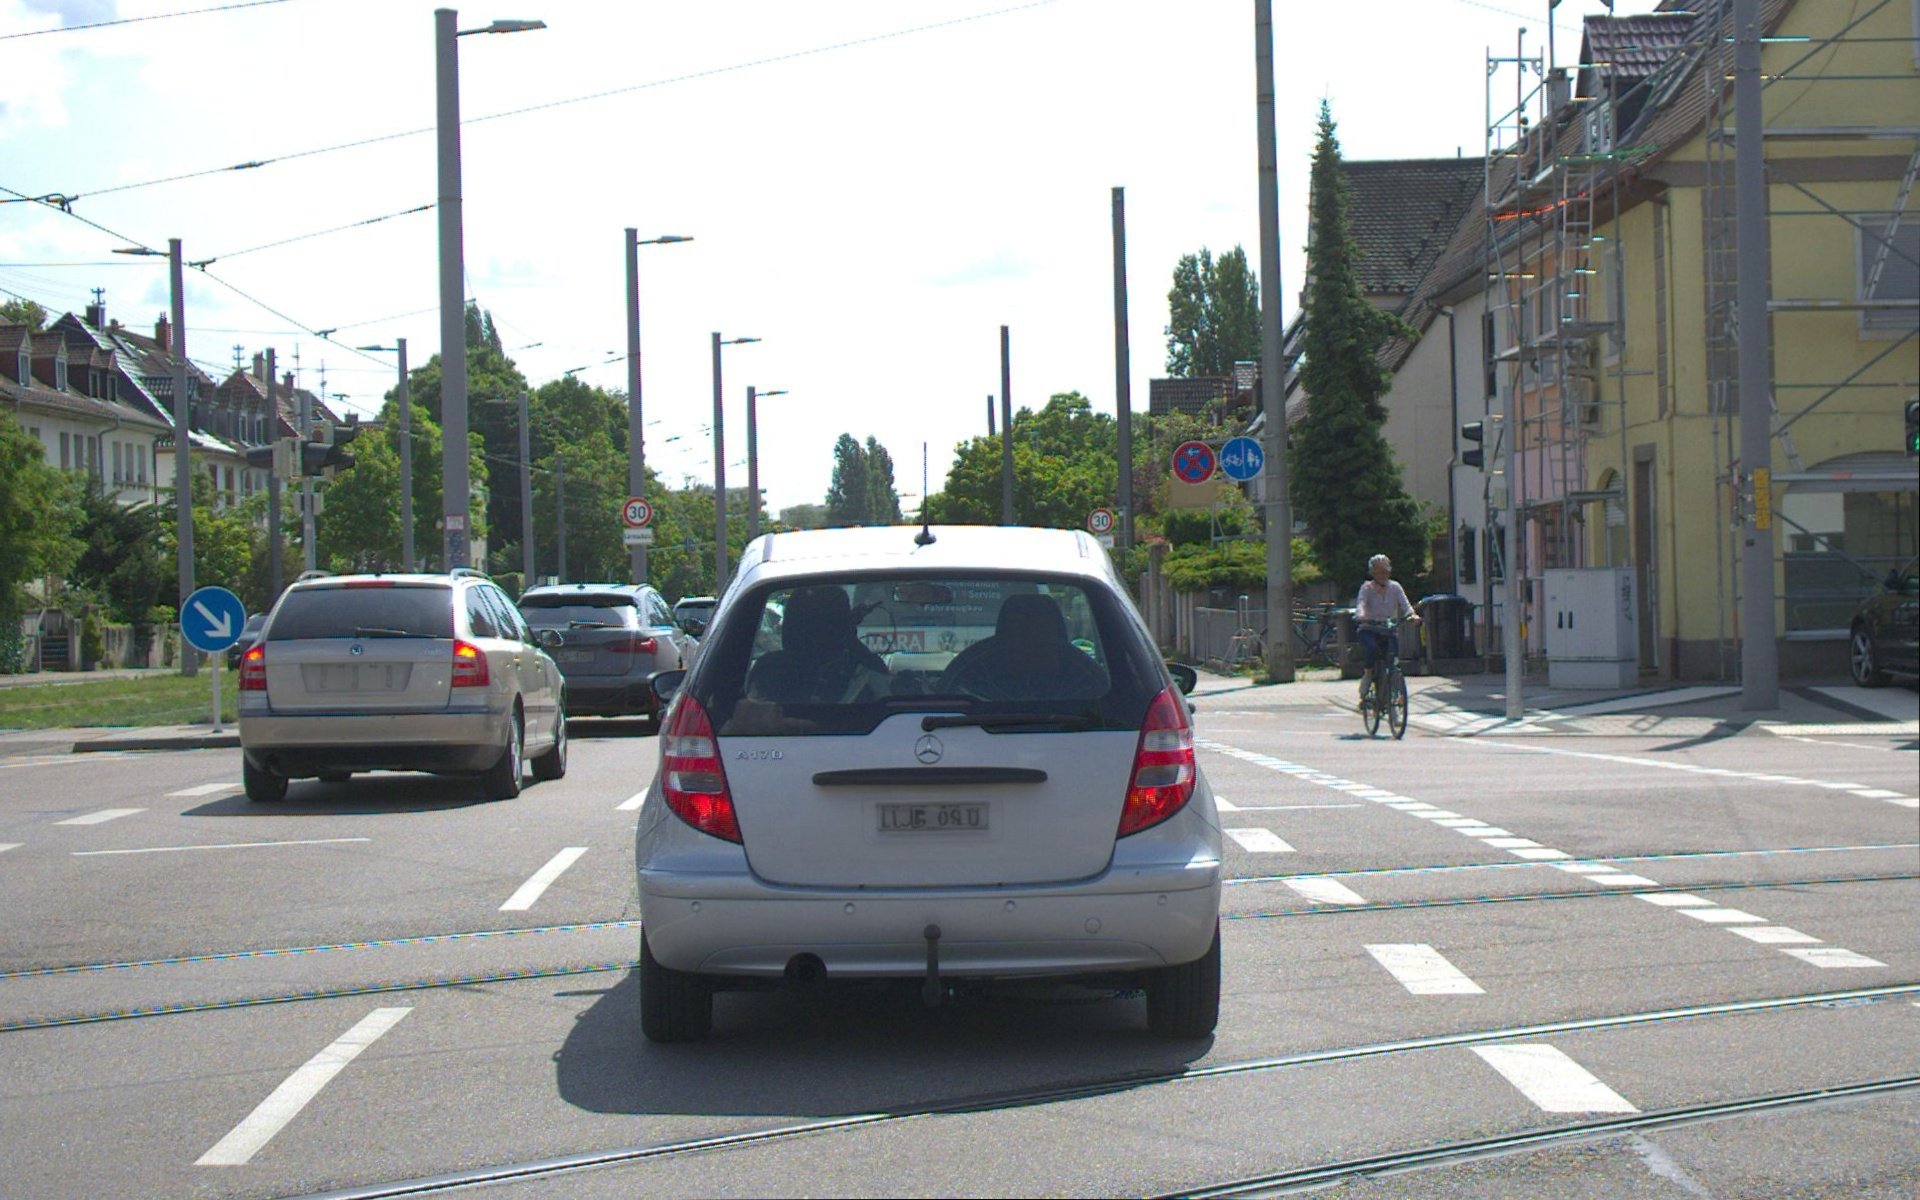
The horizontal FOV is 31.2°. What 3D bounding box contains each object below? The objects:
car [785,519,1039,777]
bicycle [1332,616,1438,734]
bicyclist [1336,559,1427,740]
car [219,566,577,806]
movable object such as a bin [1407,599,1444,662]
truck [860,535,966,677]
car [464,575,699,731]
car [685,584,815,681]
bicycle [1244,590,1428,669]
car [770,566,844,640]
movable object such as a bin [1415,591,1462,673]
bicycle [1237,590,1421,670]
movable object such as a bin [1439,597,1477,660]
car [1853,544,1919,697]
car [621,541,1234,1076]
[{"bbox_3d":[-0.309,0.342,25.604,1.730,1.756,4.016,0,0,1],"label":"car"},{"bbox_3d":[4.104,0.718,33.317,0.650,1.114,1.588,0,0,-7],"label":"bicycle"},{"bbox_3d":[4.094,0.482,33.428,0.650,1.732,0.984,0,-1,-7],"label":"bicyclist"},{"bbox_3d":[-3.657,0.503,23.013,1.731,1.444,4.123,0,1,0],"label":"car"},{"bbox_3d":[7.135,0.468,52.695,0.468,0.943,0.558,-1,0,0],"label":"movable object such as a bin"},{"bbox_3d":[-0.940,0.131,64.917,1.852,2.544,5.855,0,0,-2],"label":"truck"},{"bbox_3d":[-3.762,0.506,34.900,1.916,1.472,4.562,0,0,-1],"label":"car"},{"bbox_3d":[-3.145,0.484,52.117,1.852,1.384,4.514,0,0,-2],"label":"car"},{"bbox_3d":[5.723,0.452,52.432,2.661,1.101,0.786,-2,0,-1],"label":"bicycle"},{"bbox_3d":[-3.904,0.086,88.258,1.852,1.837,3.918,0,0,-2],"label":"car"},{"bbox_3d":[6.558,0.439,47.101,0.511,1.101,0.855,-1,0,0],"label":"movable object such as a bin"},{"bbox_3d":[5.698,0.464,53.168,2.726,1.116,0.691,-2,0,-1],"label":"bicycle"},{"bbox_3d":[7.631,0.437,52.690,0.468,0.943,0.558,-2,0,0],"label":"movable object such as a bin"},{"bbox_3d":[10.949,0.219,36.230,1.993,1.590,4.131,0,0,0],"label":"car"},{"bbox_3d":[-0.182,0.566,11.748,1.730,1.511,4.017,0,1,-3],"label":"car"}]
